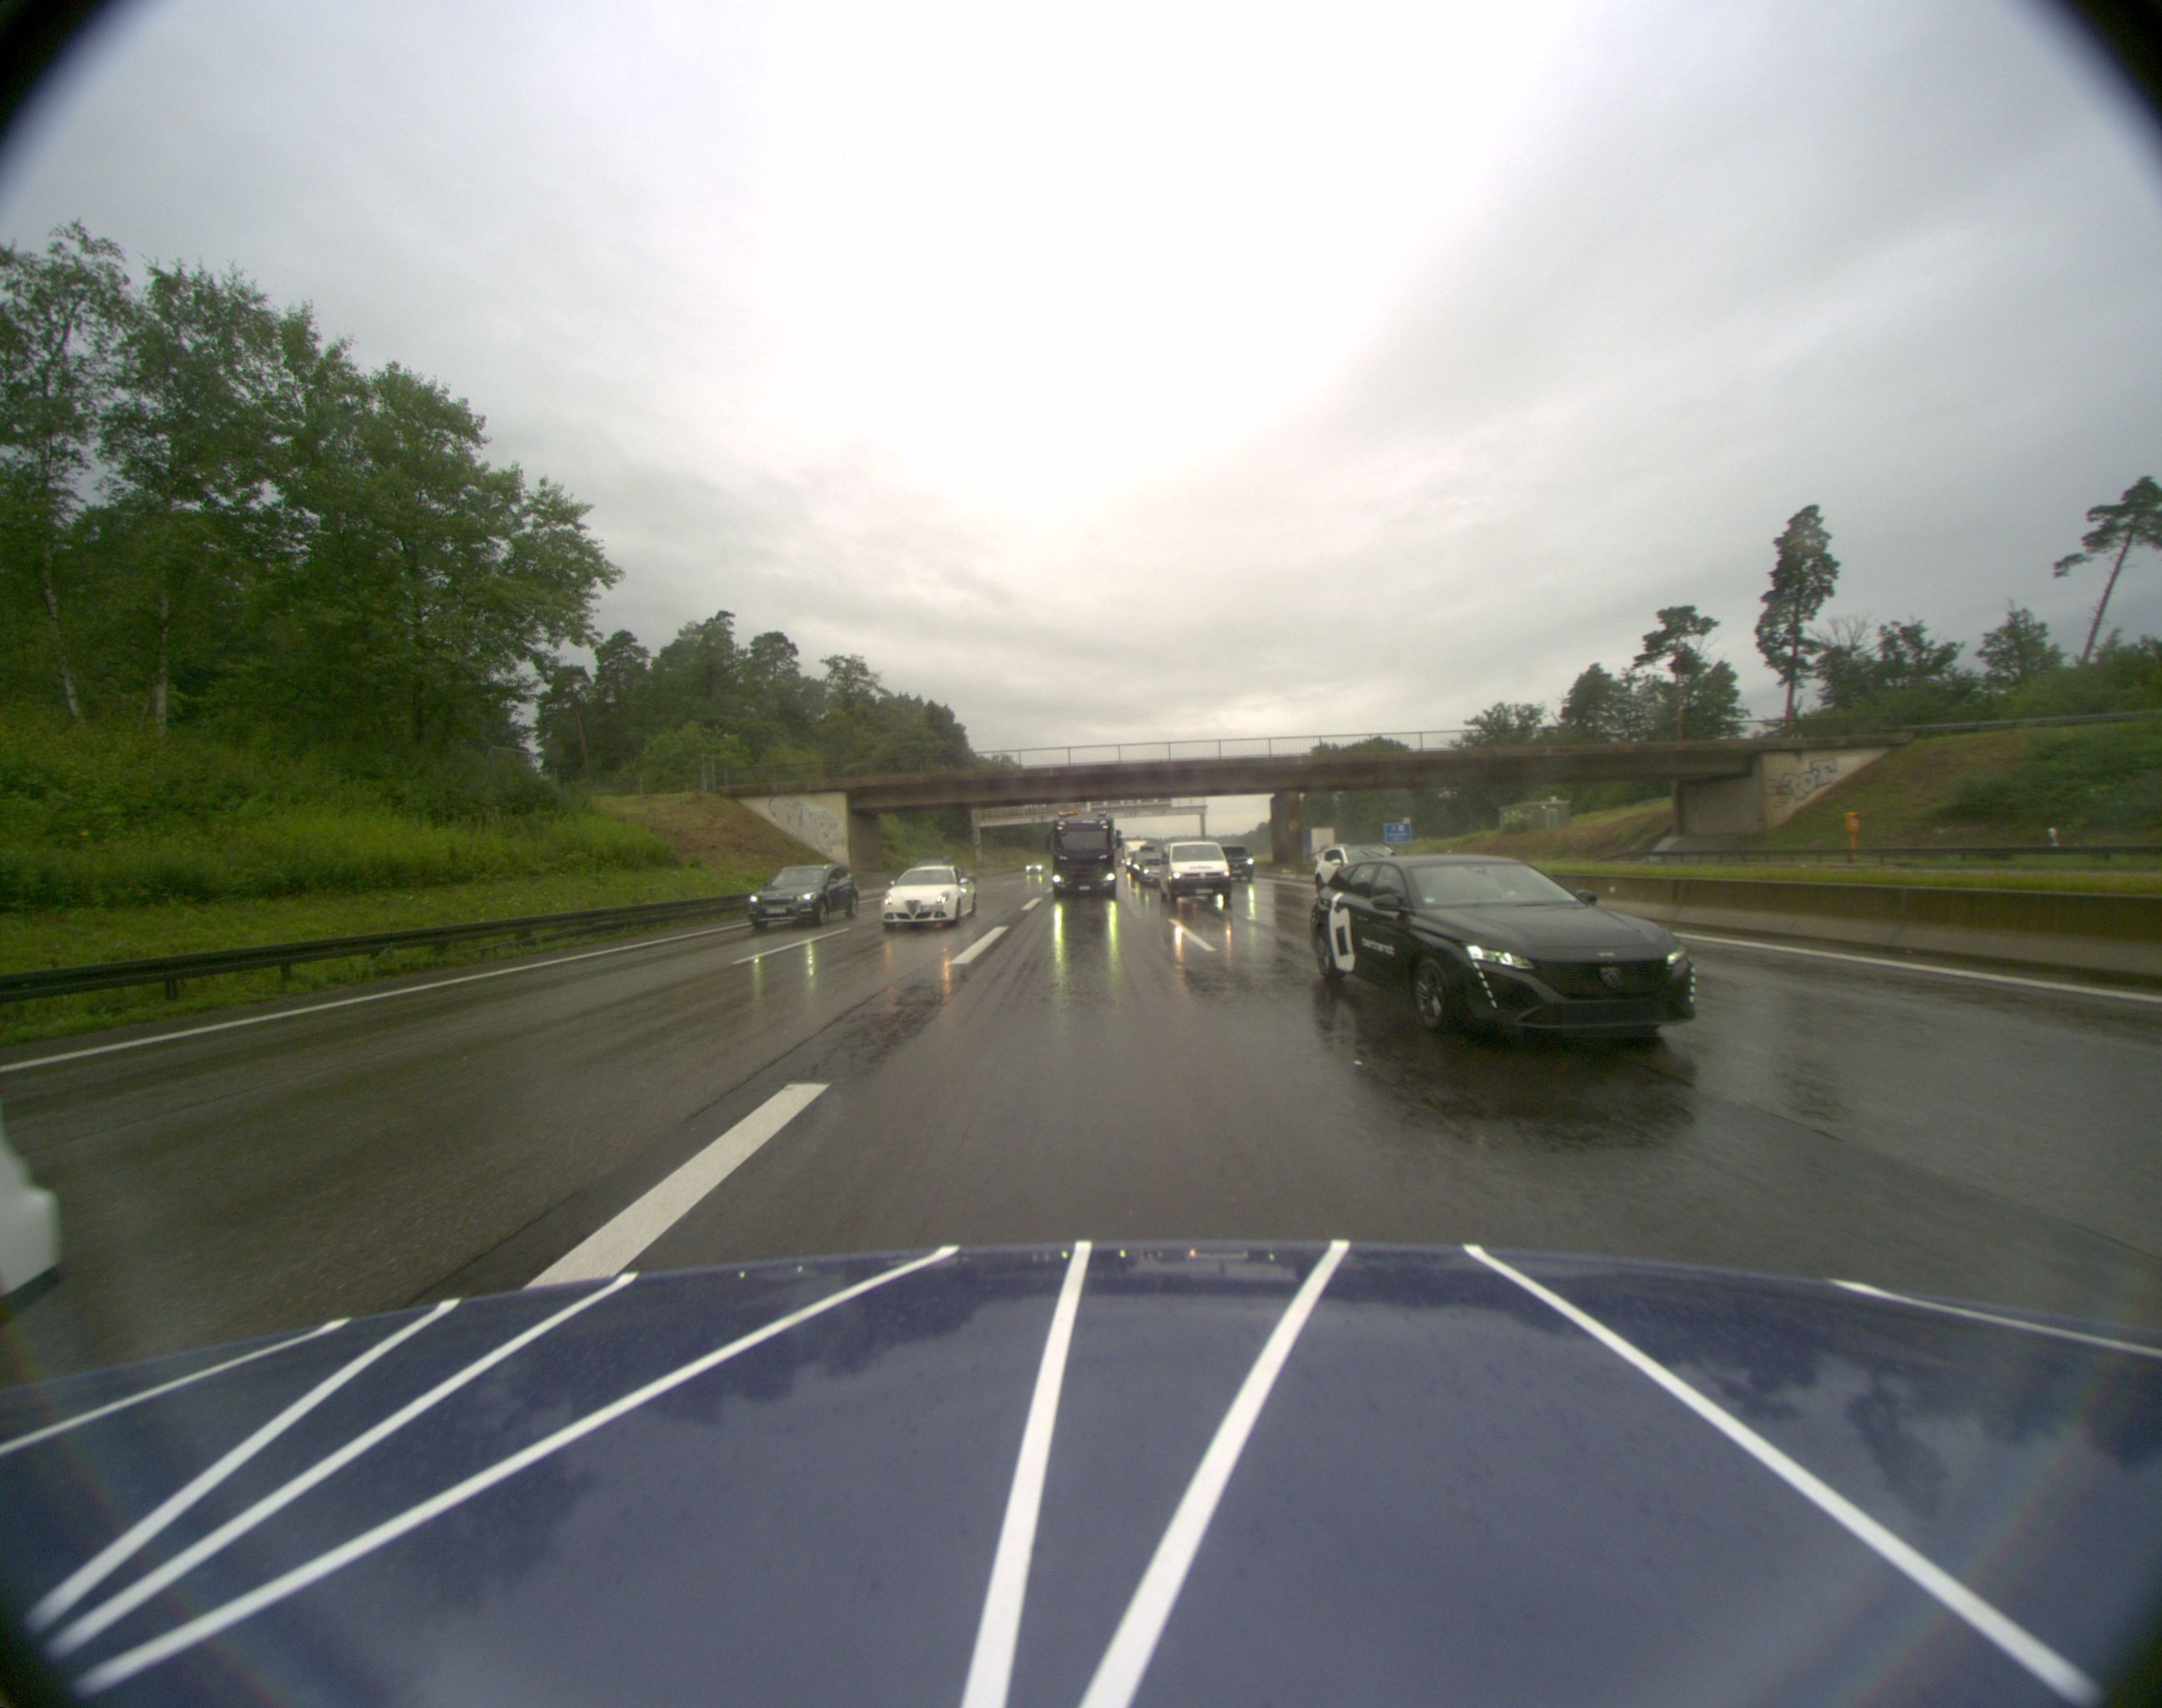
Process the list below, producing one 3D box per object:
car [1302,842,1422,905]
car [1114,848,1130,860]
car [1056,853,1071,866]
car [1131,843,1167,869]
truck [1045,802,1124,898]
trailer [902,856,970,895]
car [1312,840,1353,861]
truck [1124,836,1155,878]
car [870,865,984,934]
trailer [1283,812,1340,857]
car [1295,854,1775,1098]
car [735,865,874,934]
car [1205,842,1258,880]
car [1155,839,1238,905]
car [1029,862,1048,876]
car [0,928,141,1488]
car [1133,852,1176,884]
[{"bbox_3d":[8.057,0.502,22.258,1.850,1.582,4.466,-2,0,1],"label":"car"},{"bbox_3d":[5.404,0.010,100.835,1.995,1.551,4.767,-2,0,1],"label":"car"},{"bbox_3d":[-2.718,0.911,118.634,1.995,1.910,4.767,-2,0,1],"label":"car"},{"bbox_3d":[4.457,0.128,50.330,1.995,1.551,4.767,-2,0,1],"label":"car"},{"bbox_3d":[0.266,-0.234,34.310,2.879,3.528,10.910,-2,1,1],"label":"truck"},{"bbox_3d":[-7.114,1.003,37.906,2.249,1.704,5.082,-2,0,1],"label":"trailer"},{"bbox_3d":[20.767,-0.307,62.864,1.934,1.582,4.466,-3,0,1],"label":"car"},{"bbox_3d":[5.918,0.273,77.336,2.521,3.941,6.994,-2,0,1],"label":"truck"},{"bbox_3d":[-3.780,1.064,19.516,1.894,1.417,4.483,-2,0,1],"label":"car"},{"bbox_3d":[27.017,-2.135,89.850,3.213,4.785,13.349,-2,0,3],"label":"trailer"},{"bbox_3d":[3.552,0.786,7.128,1.850,1.496,4.466,-2,0,1],"label":"car"},{"bbox_3d":[-7.495,1.162,21.208,1.995,1.574,4.767,-2,0,1],"label":"car"},{"bbox_3d":[8.315,0.346,42.445,1.996,1.933,5.242,-2,0,1],"label":"car"},{"bbox_3d":[3.666,0.523,24.902,1.995,1.869,4.767,-2,0,1],"label":"car"},{"bbox_3d":[-4.685,1.631,84.179,1.795,1.399,4.228,-2,0,1],"label":"car"},{"bbox_3d":[-3.926,1.030,0.217,1.850,1.514,4.343,-2,0,0],"label":"car"},{"bbox_3d":[3.769,0.686,39.551,1.850,1.496,4.466,-2,1,1],"label":"car"}]
